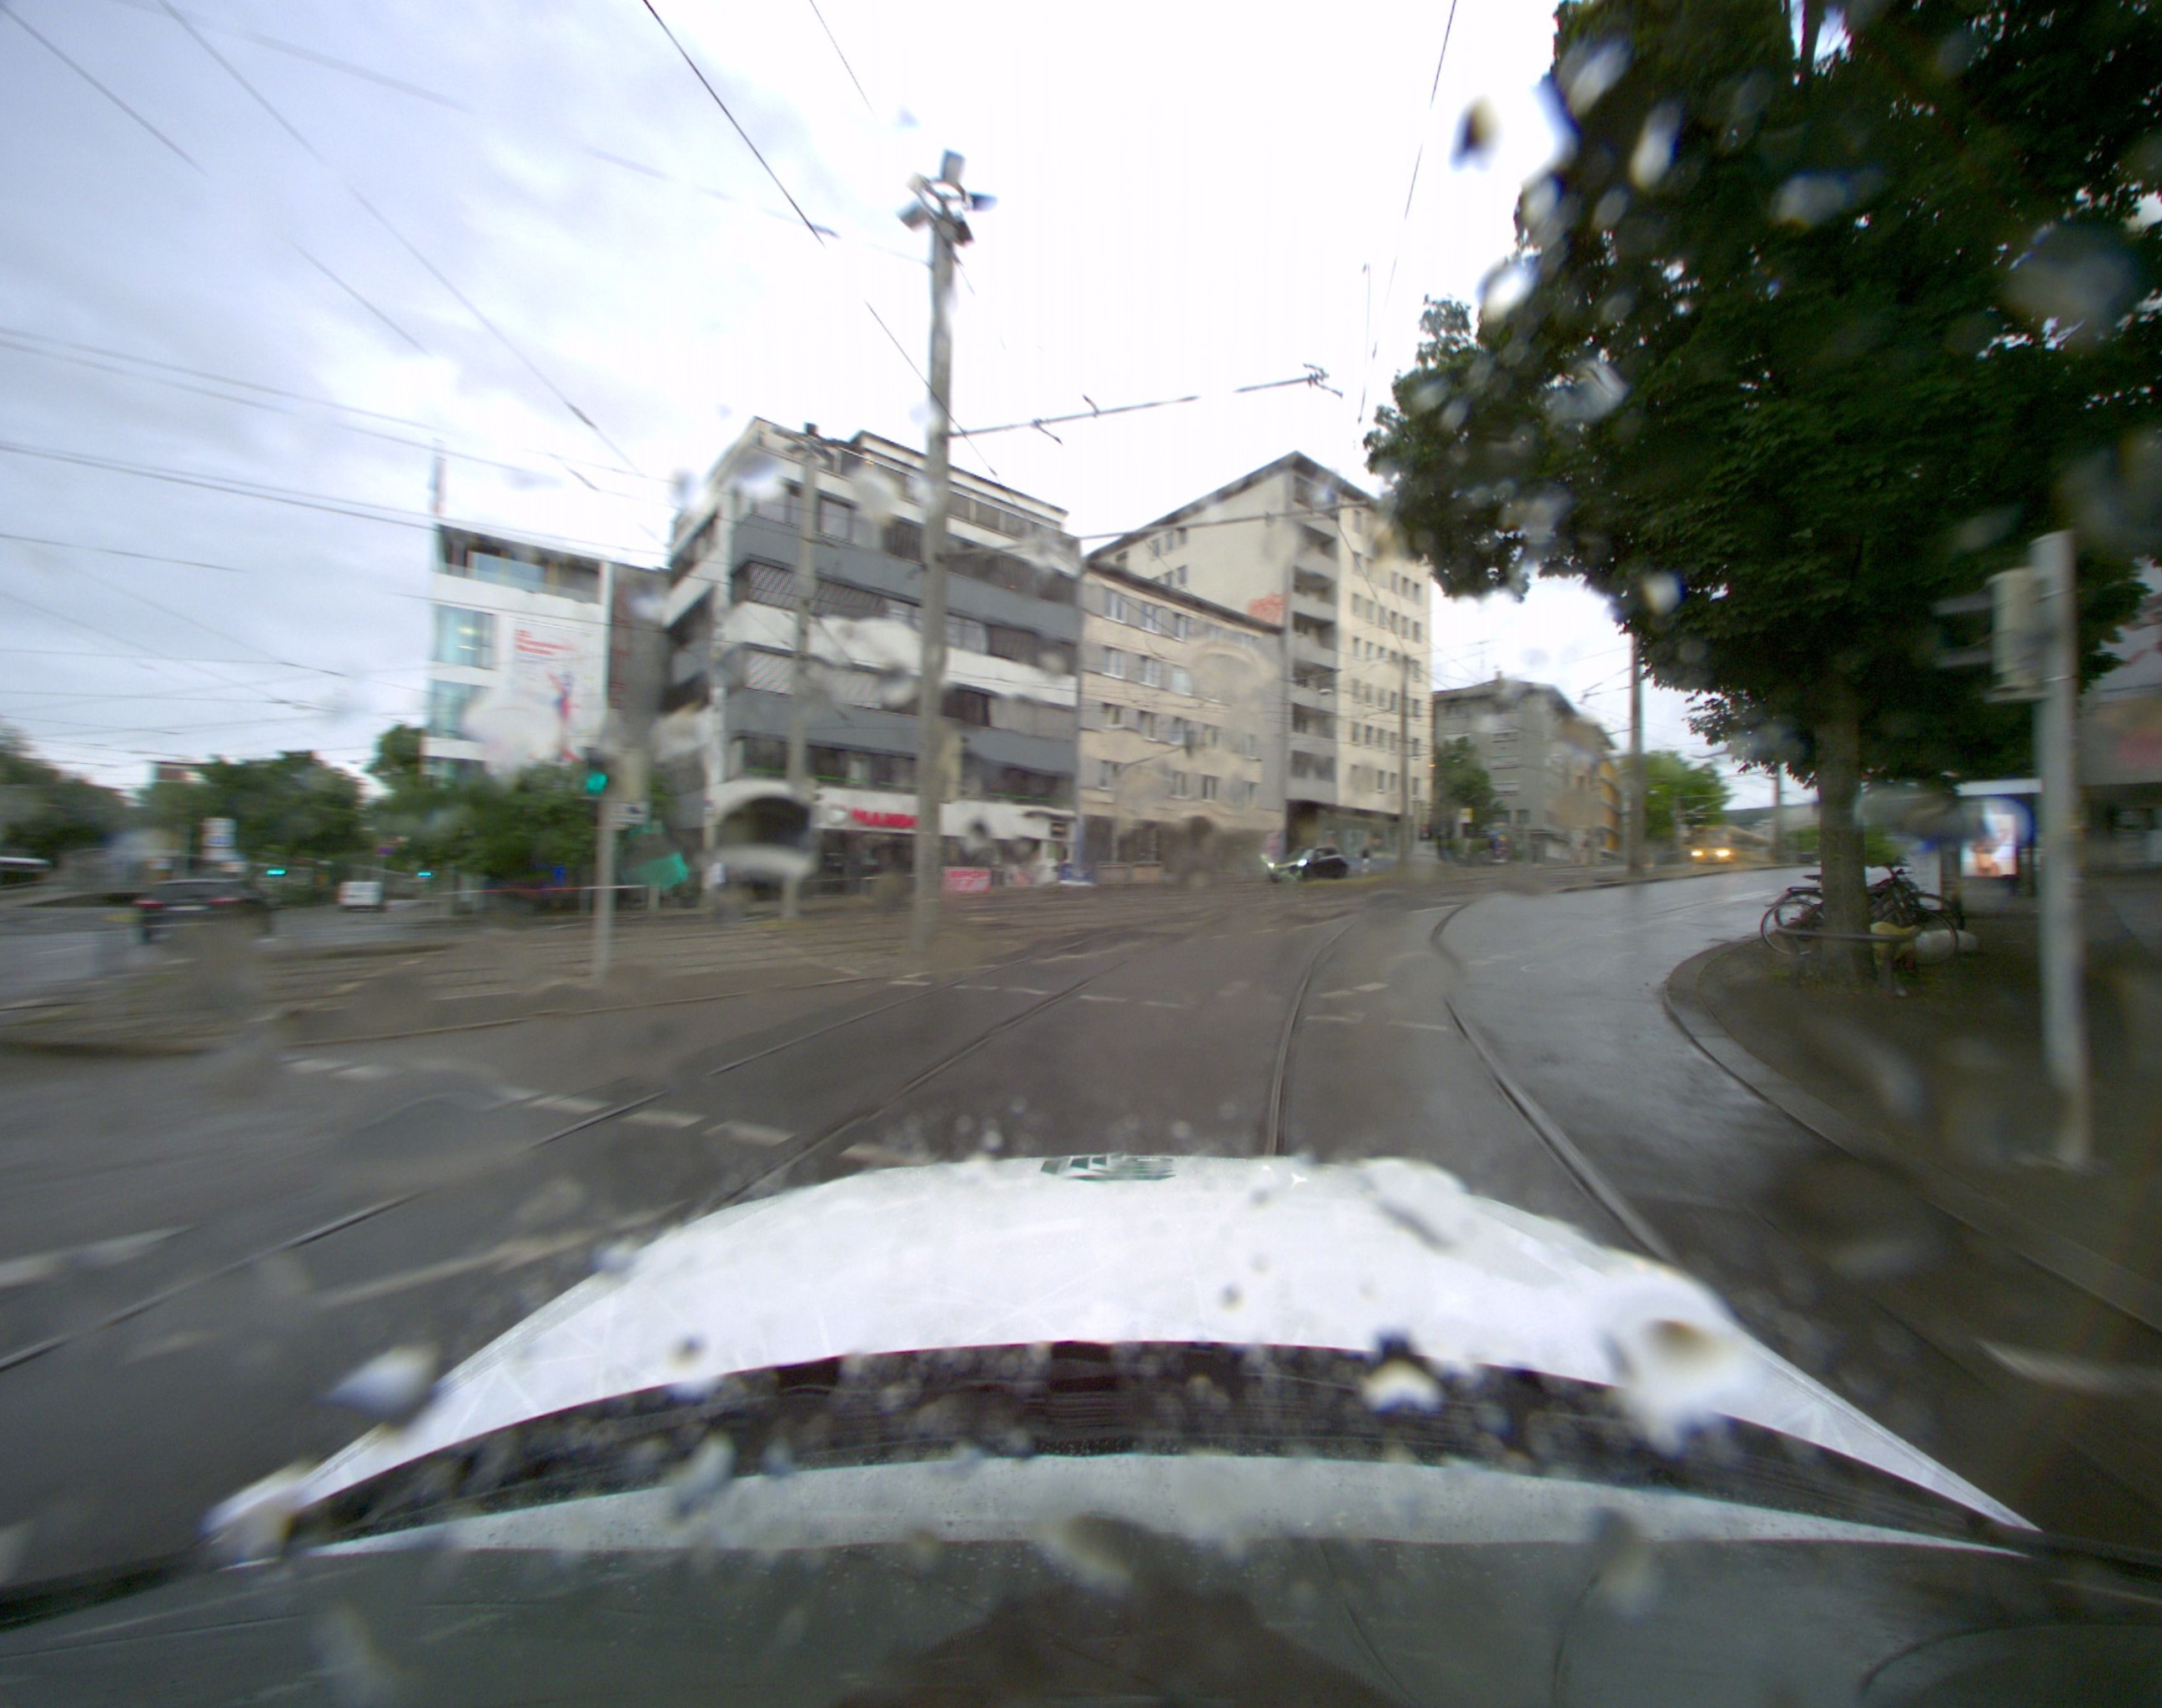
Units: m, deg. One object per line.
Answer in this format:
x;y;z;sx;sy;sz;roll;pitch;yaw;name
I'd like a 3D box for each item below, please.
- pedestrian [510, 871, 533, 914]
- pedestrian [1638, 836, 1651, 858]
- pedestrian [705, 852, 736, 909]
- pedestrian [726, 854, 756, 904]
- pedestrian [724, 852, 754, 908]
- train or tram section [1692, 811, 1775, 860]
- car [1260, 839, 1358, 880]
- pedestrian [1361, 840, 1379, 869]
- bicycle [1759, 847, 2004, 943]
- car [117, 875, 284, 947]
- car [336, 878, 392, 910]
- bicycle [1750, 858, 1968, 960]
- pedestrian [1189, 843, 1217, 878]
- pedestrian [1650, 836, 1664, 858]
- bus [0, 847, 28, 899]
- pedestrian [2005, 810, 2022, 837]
-20.754;1.418;30.193;0.543;1.563;0.518;0;-1;-16;pedestrian
46.227;-0.553;66.806;0.700;1.790;0.726;-1;-1;-41;pedestrian
-12.330;0.905;27.874;0.714;1.914;0.698;0;-1;2;pedestrian
-12.152;0.874;29.117;0.713;1.762;0.700;0;-1;9;pedestrian
-12.005;0.905;28.601;0.714;1.914;0.698;0;-1;2;pedestrian
58.383;-1.444;72.510;19.072;3.697;2.722;1;-1;-42;train or tram section
10.241;0.228;36.456;4.550;1.673;1.977;-1;0;-40;car
17.597;0.049;49.577;0.914;1.738;0.591;-1;-1;-41;pedestrian
10.825;0.524;11.126;0.652;1.174;2.298;1;-1;-36;bicycle
-22.349;1.373;20.895;2.051;1.585;4.343;2;-2;-36;car
-44.838;2.490;51.036;2.050;1.840;4.345;2;-2;-34;car
9.340;0.617;9.847;0.652;1.092;1.802;-2;0;-36;bicycle
6.015;0.315;40.047;1.003;1.681;0.880;-1;-1;-37;pedestrian
46.749;-0.566;66.123;0.700;1.790;0.726;-1;-1;-41;pedestrian
-68.046;1.148;48.234;3.099;3.301;12.390;1;-1;-34;bus
64.139;-2.075;55.995;1.073;1.785;0.693;-1;0;-43;pedestrian
